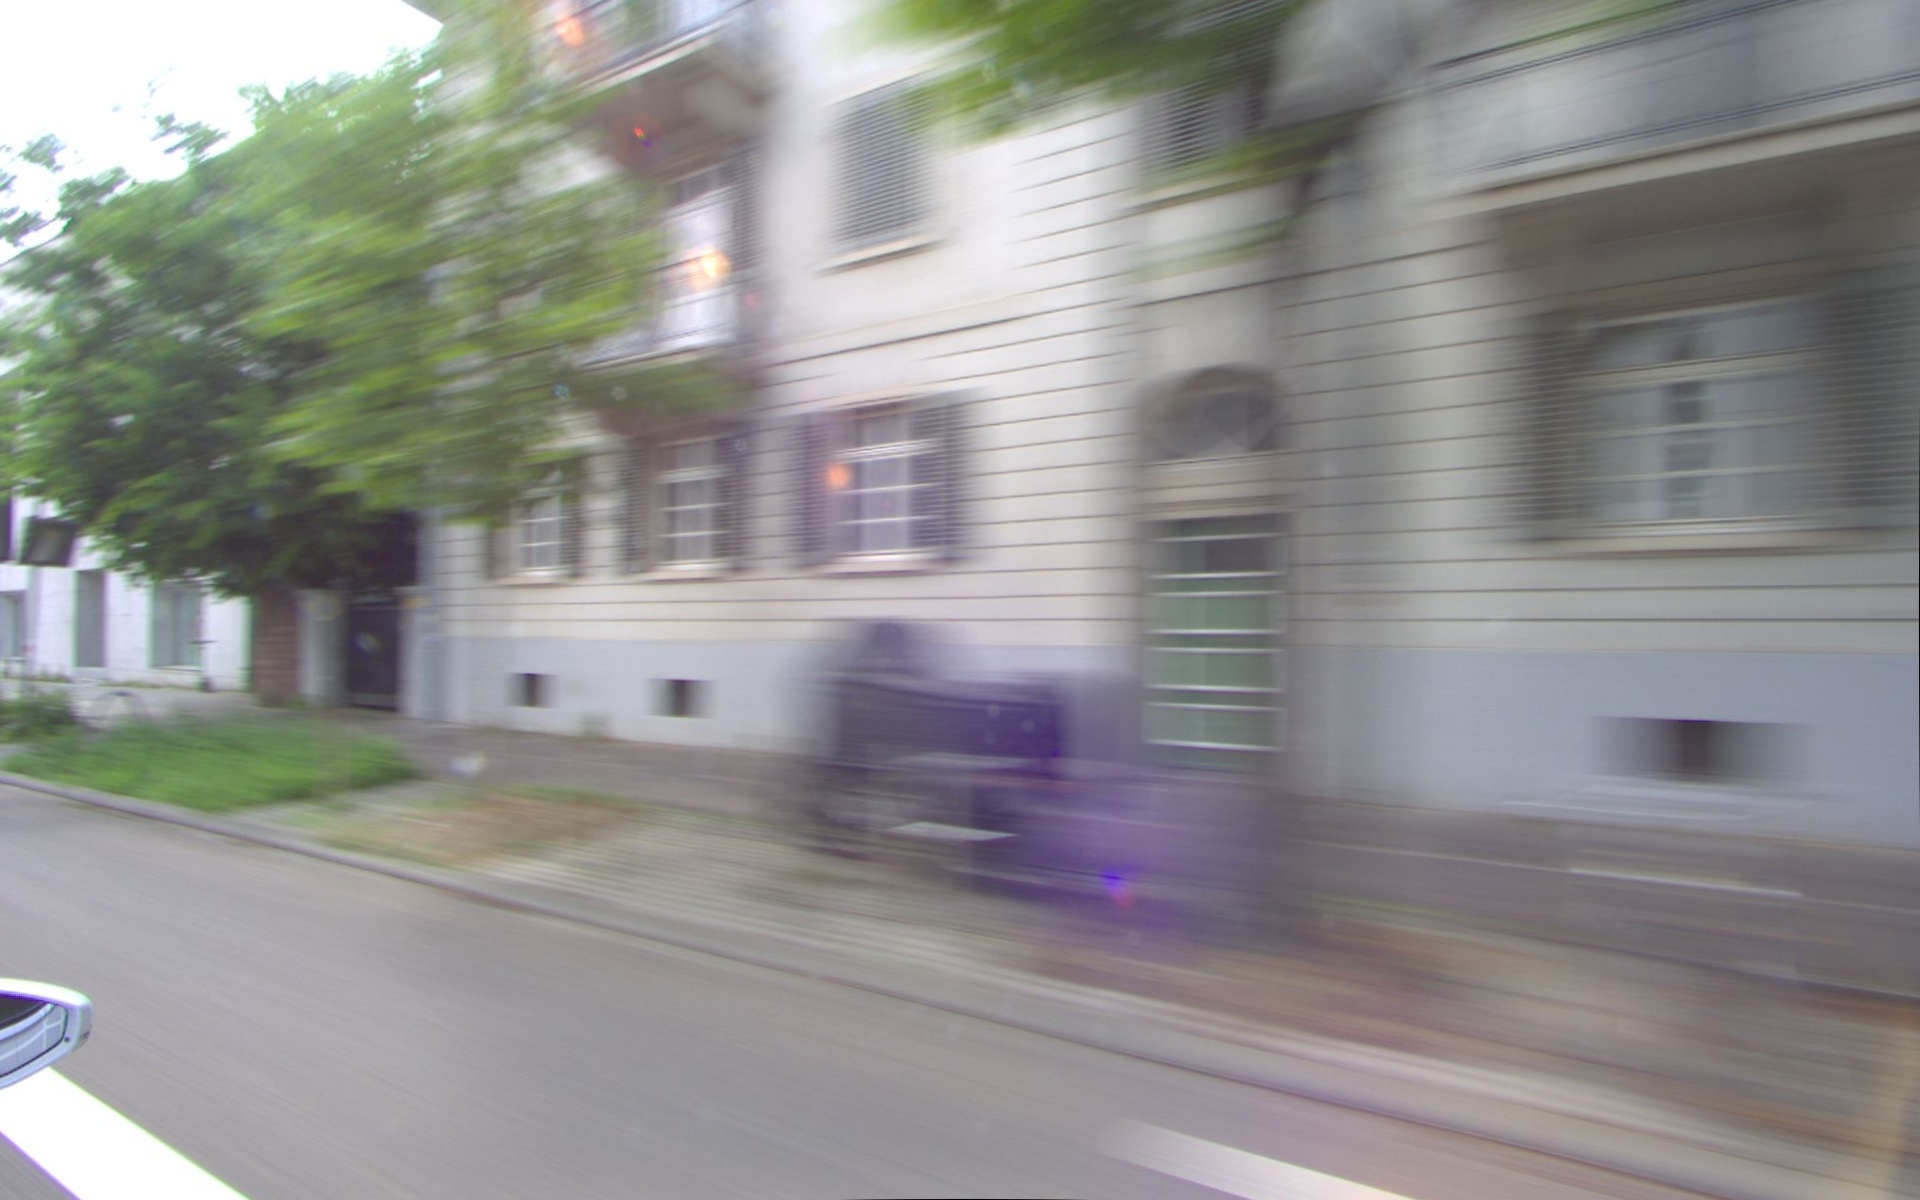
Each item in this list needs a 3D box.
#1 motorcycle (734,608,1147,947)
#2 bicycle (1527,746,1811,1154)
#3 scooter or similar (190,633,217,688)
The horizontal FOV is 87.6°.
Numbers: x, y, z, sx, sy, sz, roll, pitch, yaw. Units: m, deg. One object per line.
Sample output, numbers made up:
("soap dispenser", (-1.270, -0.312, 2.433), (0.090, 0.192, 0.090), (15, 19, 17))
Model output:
("motorcycle", (-0.212, 0.852, 5.815), (2.414, 1.561, 0.975), (-1, -2, 44))
("bicycle", (2.568, 1.097, 3.682), (0.682, 0.914, 1.772), (0, -2, 35))
("scooter or similar", (-16.948, 1.334, 22.417), (0.320, 1.196, 1.136), (2, -2, -44))
